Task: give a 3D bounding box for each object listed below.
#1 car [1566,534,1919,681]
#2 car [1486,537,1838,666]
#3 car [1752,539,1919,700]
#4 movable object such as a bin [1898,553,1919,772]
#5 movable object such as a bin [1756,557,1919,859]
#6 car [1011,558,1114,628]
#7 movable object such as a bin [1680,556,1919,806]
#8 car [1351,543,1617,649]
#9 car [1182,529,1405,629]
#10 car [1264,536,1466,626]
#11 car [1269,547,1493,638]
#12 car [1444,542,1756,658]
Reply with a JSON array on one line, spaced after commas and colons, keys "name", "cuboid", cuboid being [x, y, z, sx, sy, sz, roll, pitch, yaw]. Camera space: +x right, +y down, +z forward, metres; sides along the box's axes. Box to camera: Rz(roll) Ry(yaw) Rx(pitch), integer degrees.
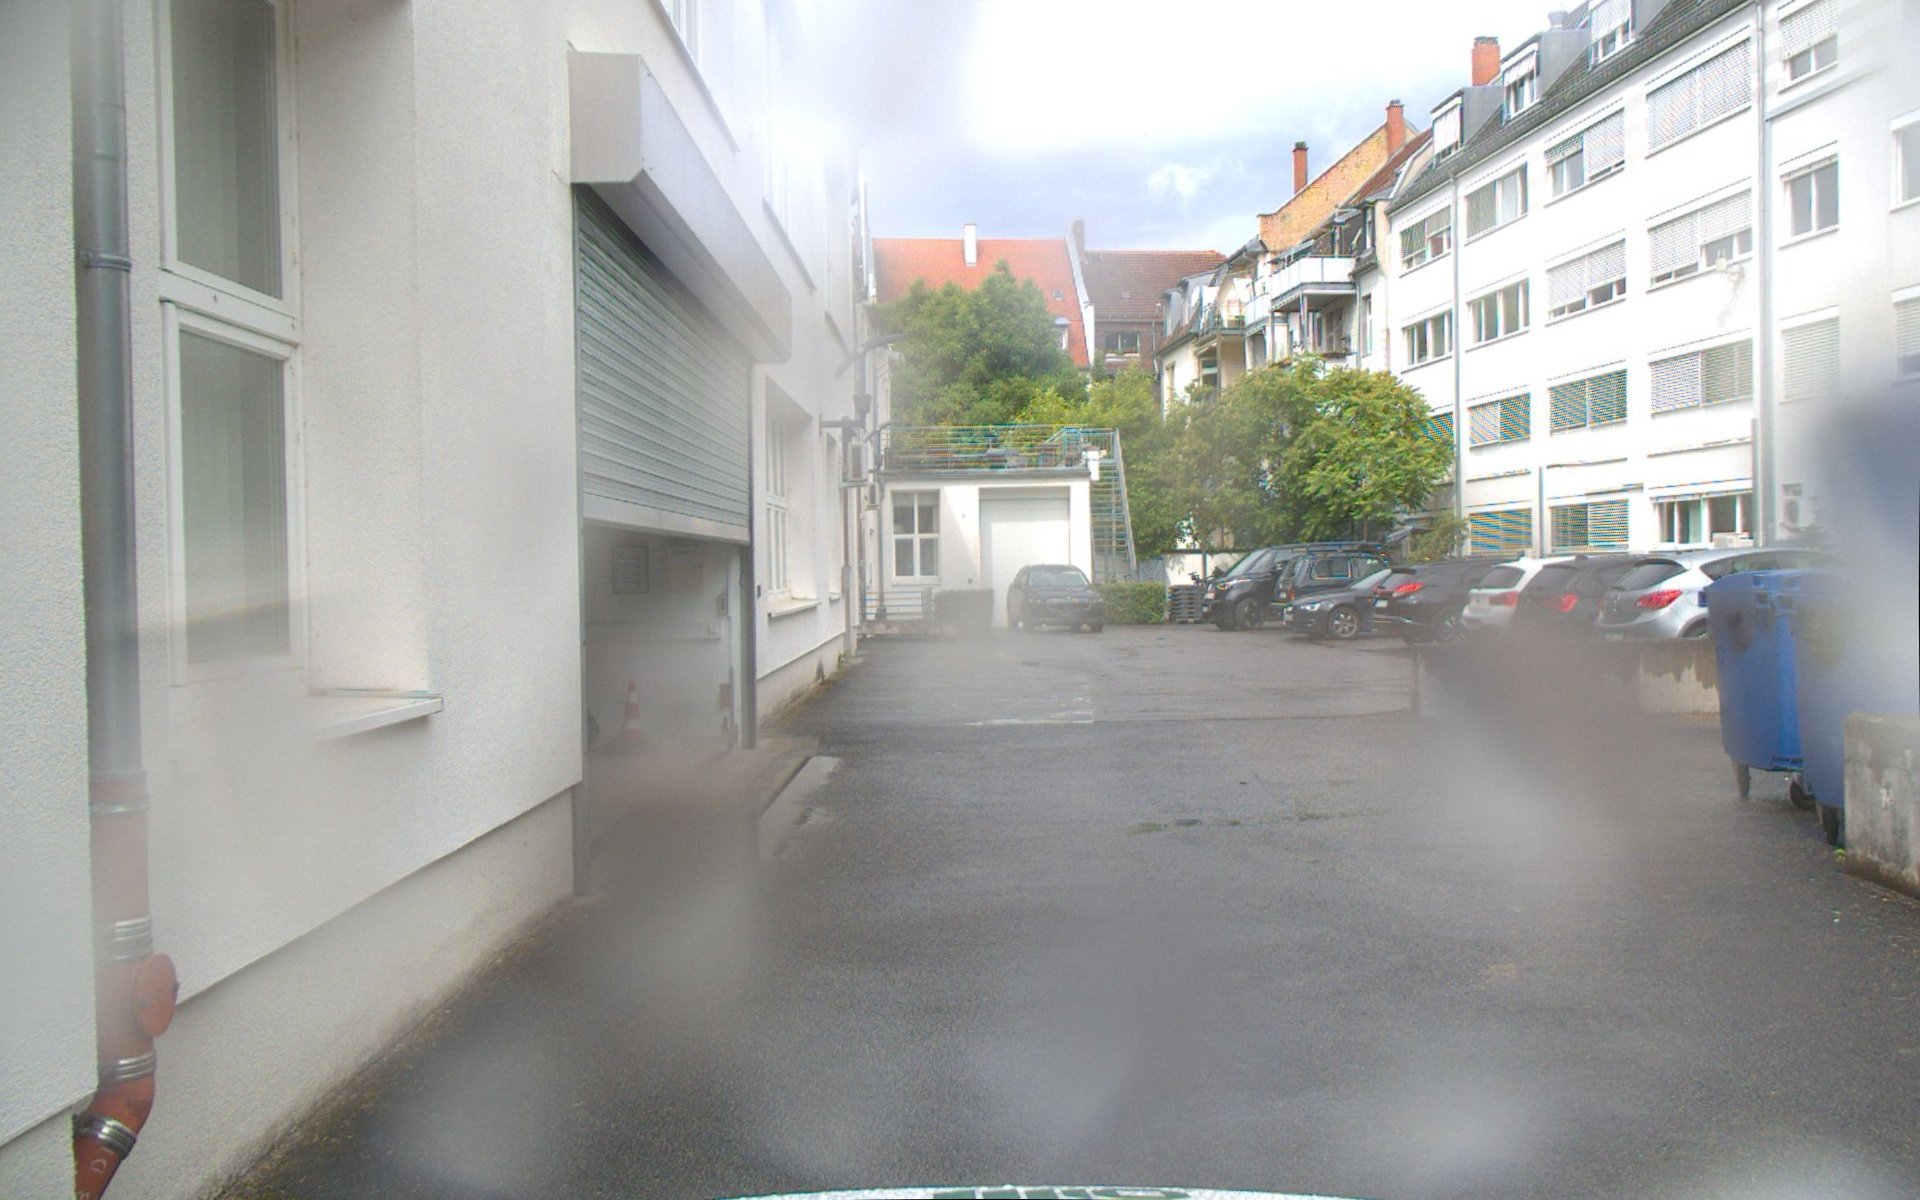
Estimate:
[{"name": "car", "cuboid": [9.433, 0.052, 19.451, 3.908, 1.470, 1.805, -3, 1, -4]}, {"name": "car", "cuboid": [9.258, -0.009, 21.978, 3.910, 1.427, 1.771, -3, 2, -5]}, {"name": "car", "cuboid": [9.970, 0.108, 16.442, 3.348, 1.451, 1.687, -3, 1, -3]}, {"name": "movable object such as a bin", "cuboid": [6.380, 0.366, 9.644, 1.161, 1.327, 1.107, -2, 1, 0]}, {"name": "movable object such as a bin", "cuboid": [4.703, 0.455, 7.840, 1.310, 1.314, 1.096, -2, 0, 2]}, {"name": "car", "cuboid": [2.295, -0.199, 37.917, 1.939, 1.469, 3.999, -1, 1, -2]}, {"name": "movable object such as a bin", "cuboid": [5.107, 0.431, 9.613, 1.343, 1.327, 1.083, -2, 1, 1]}, {"name": "car", "cuboid": [8.779, -0.083, 27.870, 3.836, 1.540, 1.817, -3, 1, -8]}, {"name": "car", "cuboid": [7.699, -0.516, 38.398, 4.553, 2.038, 2.219, -3, 2, -11]}, {"name": "car", "cuboid": [8.679, -0.407, 35.640, 3.830, 1.716, 1.816, -3, 1, -2]}, {"name": "car", "cuboid": [8.193, -0.155, 32.348, 3.833, 1.540, 1.750, -3, 1, -6]}, {"name": "car", "cuboid": [9.411, -0.021, 24.471, 3.910, 1.483, 1.771, -2, 1, -6]}]
